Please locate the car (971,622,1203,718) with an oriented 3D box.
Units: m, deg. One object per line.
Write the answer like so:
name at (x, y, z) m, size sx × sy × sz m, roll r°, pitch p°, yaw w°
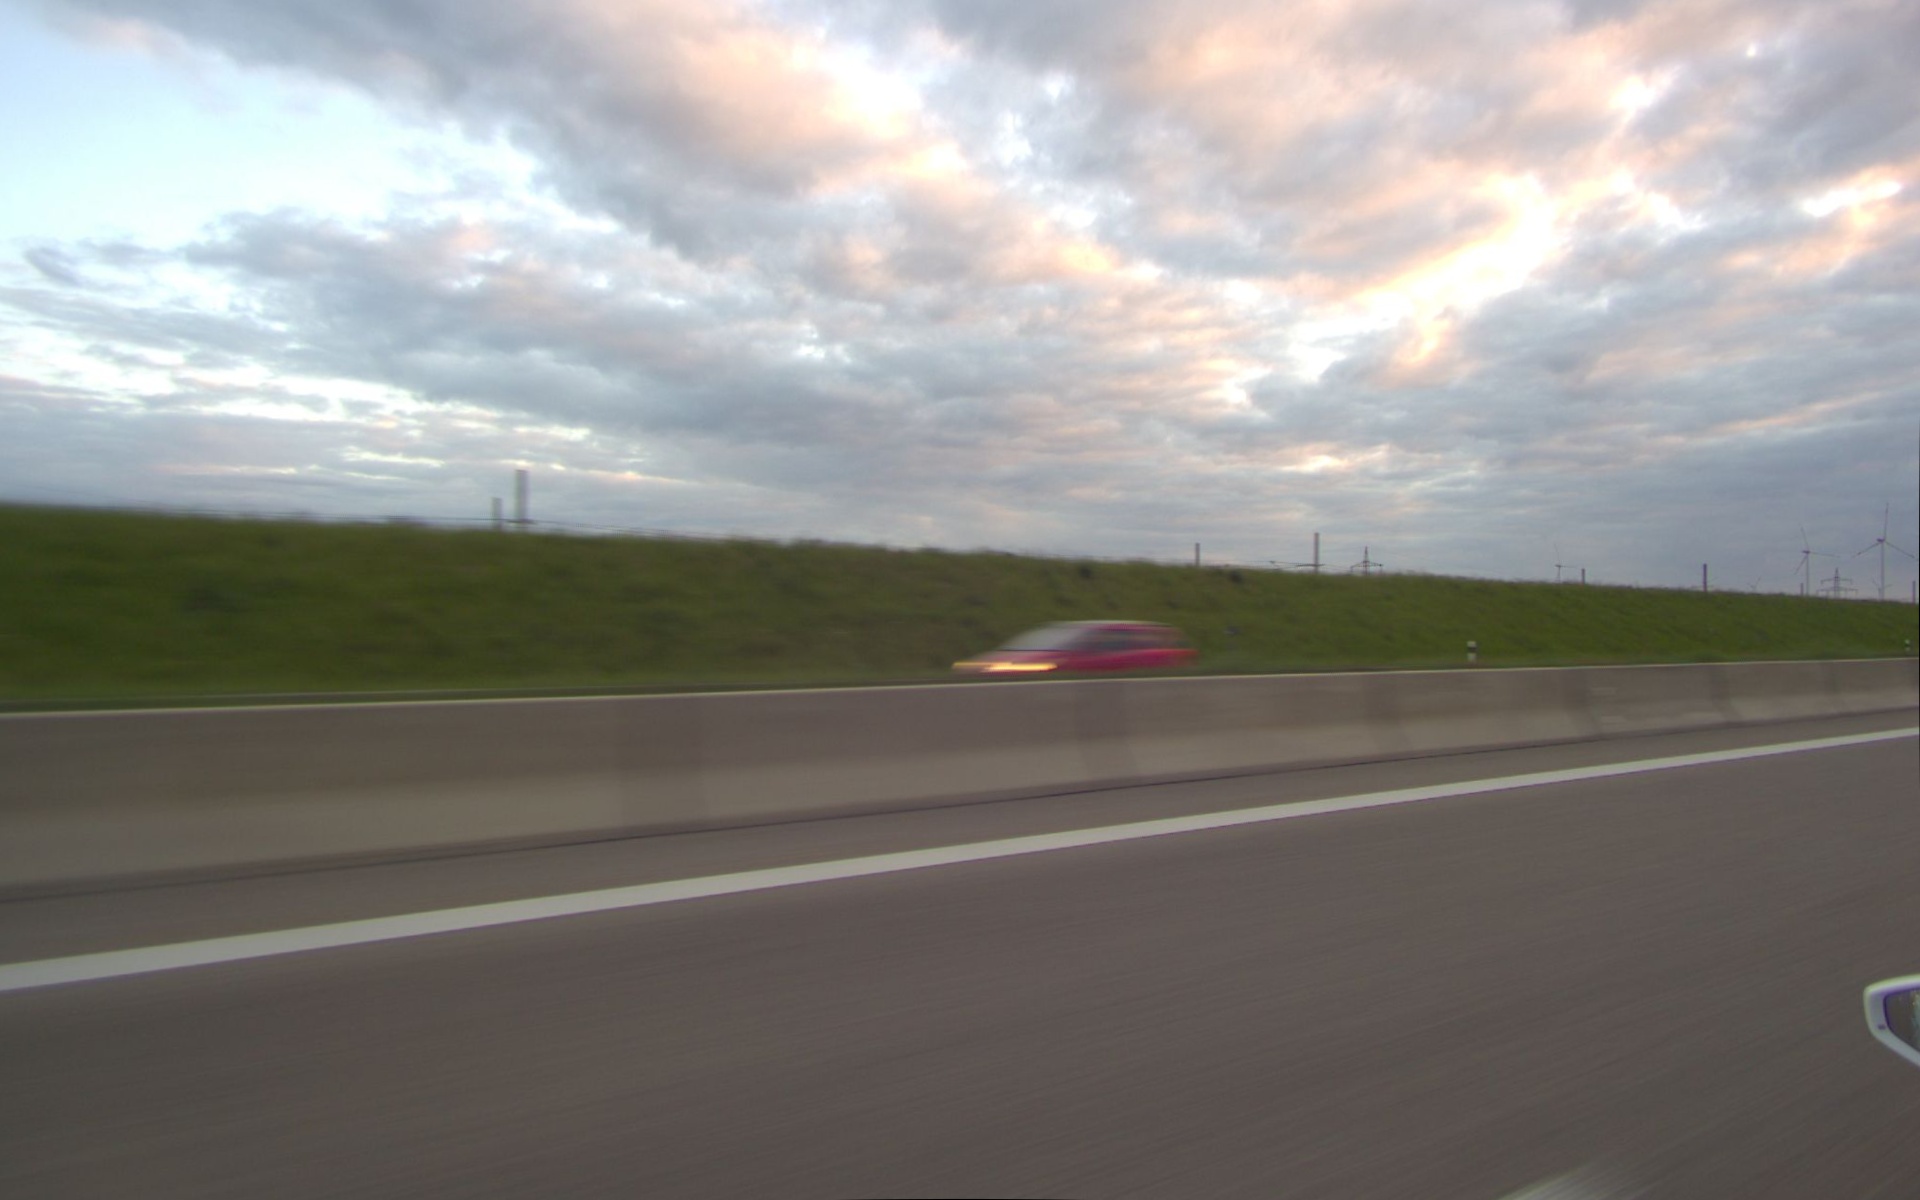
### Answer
car at (2.400, 1.248, 18.780) m, size 4.057 × 1.613 × 1.845 m, roll 1°, pitch -2°, yaw -30°
